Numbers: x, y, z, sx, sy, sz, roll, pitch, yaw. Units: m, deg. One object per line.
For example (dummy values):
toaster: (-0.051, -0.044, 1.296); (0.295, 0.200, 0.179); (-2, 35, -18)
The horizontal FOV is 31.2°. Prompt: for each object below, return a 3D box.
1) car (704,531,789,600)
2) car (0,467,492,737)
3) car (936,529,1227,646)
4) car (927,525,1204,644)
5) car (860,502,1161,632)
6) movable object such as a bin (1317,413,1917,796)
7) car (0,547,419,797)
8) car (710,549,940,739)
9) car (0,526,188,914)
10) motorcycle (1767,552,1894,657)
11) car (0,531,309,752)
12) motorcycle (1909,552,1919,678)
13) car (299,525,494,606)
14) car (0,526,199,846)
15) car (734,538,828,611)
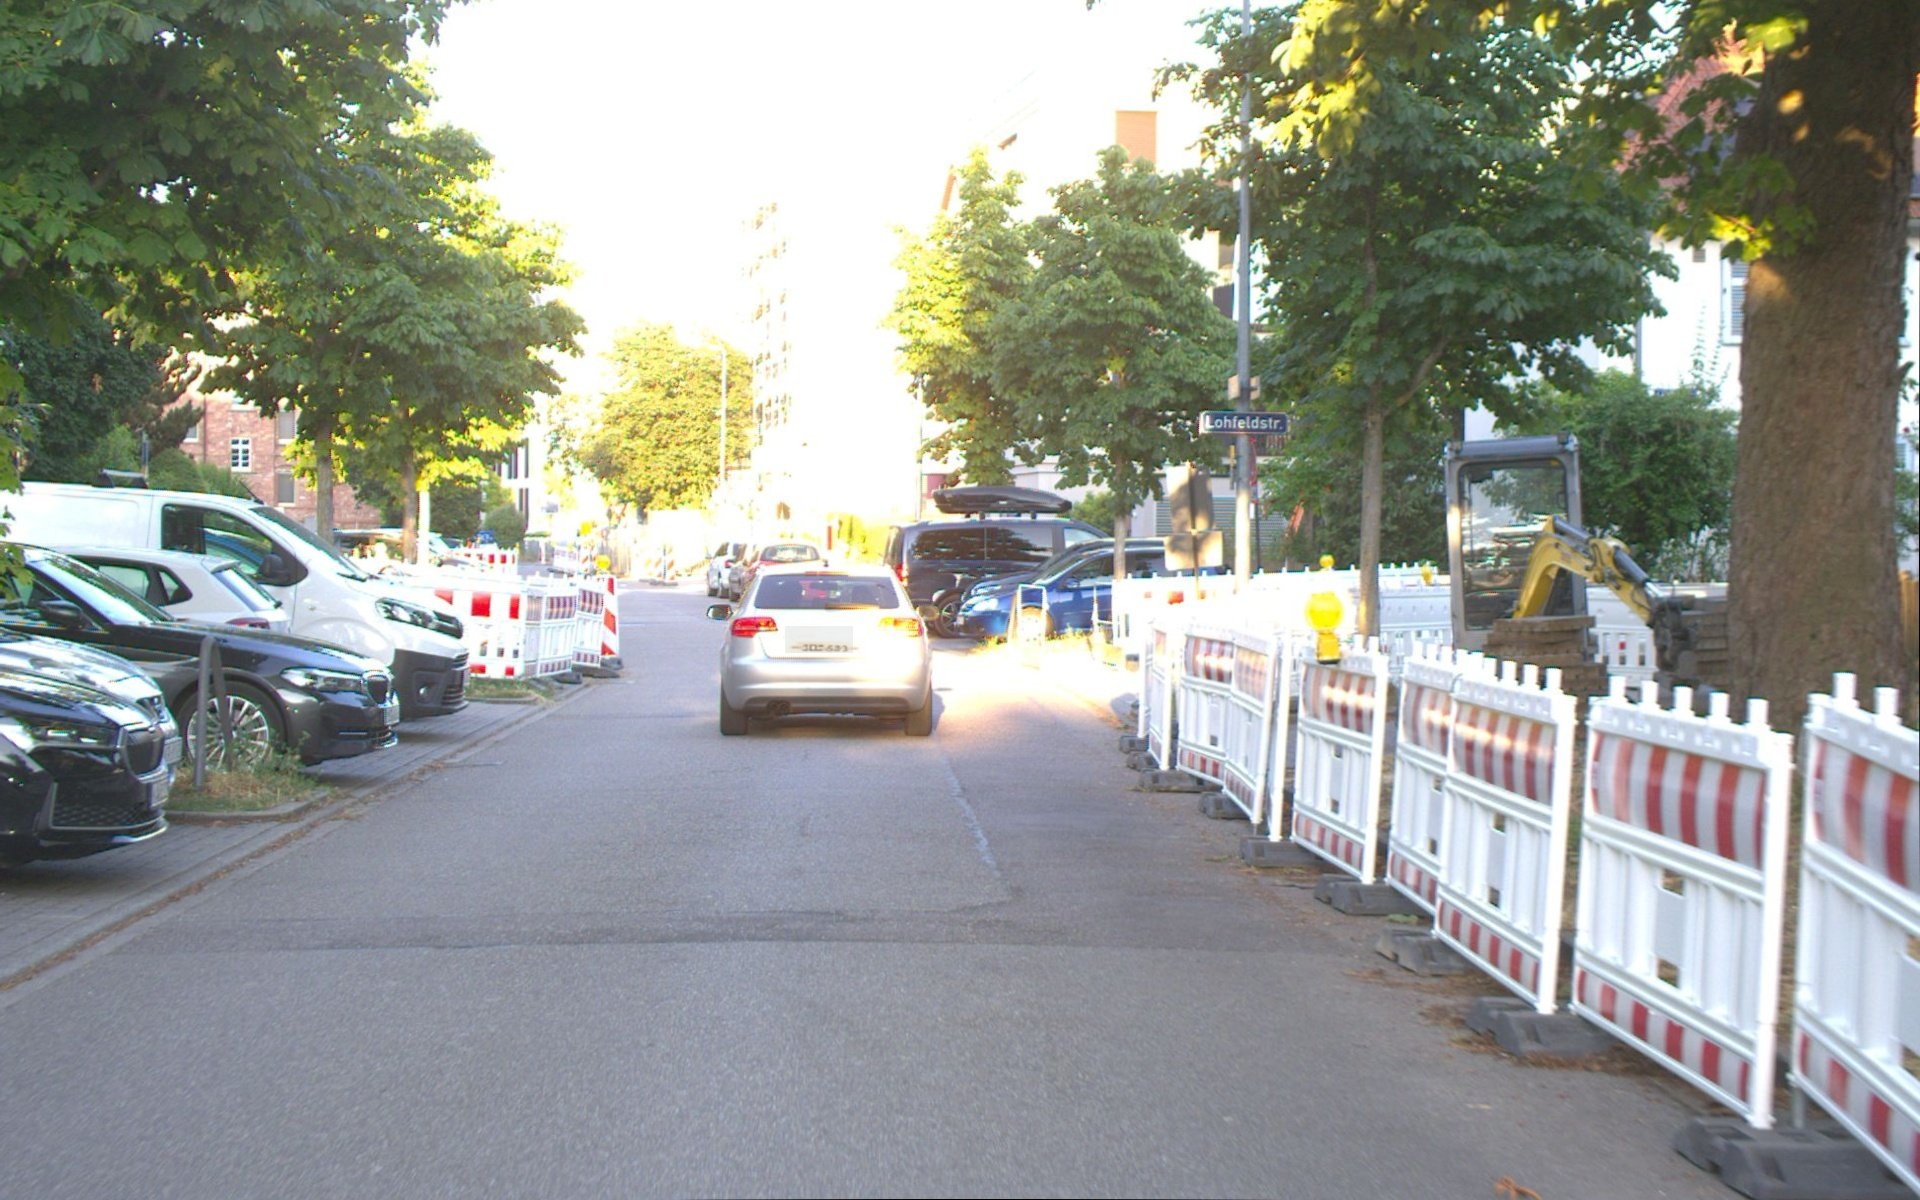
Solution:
car: (-5.251, -0.868, 84.208); (1.808, 1.607, 3.582); (1, 1, -7)
car: (-6.218, -0.016, 27.308); (4.771, 2.007, 2.000); (1, 1, -3)
car: (1.798, -0.192, 51.368); (3.986, 1.645, 1.765); (1, 1, -13)
car: (1.622, -0.255, 53.863); (3.986, 1.762, 2.001); (1, 1, -10)
car: (0.802, -0.549, 56.168); (4.555, 2.016, 2.102); (1, 1, -11)
movable object such as a bin: (4.459, -0.031, 24.442); (2.627, 2.394, 5.199); (1, 1, -8)
car: (-5.986, 0.399, 21.989); (4.771, 1.465, 1.881); (2, 0, -3)
car: (-1.128, 0.336, 29.237); (1.807, 1.483, 4.000); (-1, 0, -2)
car: (-5.771, 0.456, 15.163); (4.405, 1.609, 1.900); (1, 1, -6)
motorcycle: (9.519, 0.040, 37.552); (0.580, 1.102, 1.842); (2, 2, 40)
car: (-6.554, 0.258, 24.682); (3.414, 1.478, 1.759); (1, 1, -1)
motorcycle: (11.696, 0.197, 38.366); (2.080, 1.411, 0.596); (2, 2, 45)
car: (-11.925, -0.742, 72.699); (3.986, 1.620, 2.001); (1, 1, -10)
car: (-6.097, 0.388, 17.879); (3.986, 1.573, 1.802); (1, 1, -6)
car: (-3.865, -0.570, 73.801); (1.730, 1.478, 3.558); (1, 1, -7)
